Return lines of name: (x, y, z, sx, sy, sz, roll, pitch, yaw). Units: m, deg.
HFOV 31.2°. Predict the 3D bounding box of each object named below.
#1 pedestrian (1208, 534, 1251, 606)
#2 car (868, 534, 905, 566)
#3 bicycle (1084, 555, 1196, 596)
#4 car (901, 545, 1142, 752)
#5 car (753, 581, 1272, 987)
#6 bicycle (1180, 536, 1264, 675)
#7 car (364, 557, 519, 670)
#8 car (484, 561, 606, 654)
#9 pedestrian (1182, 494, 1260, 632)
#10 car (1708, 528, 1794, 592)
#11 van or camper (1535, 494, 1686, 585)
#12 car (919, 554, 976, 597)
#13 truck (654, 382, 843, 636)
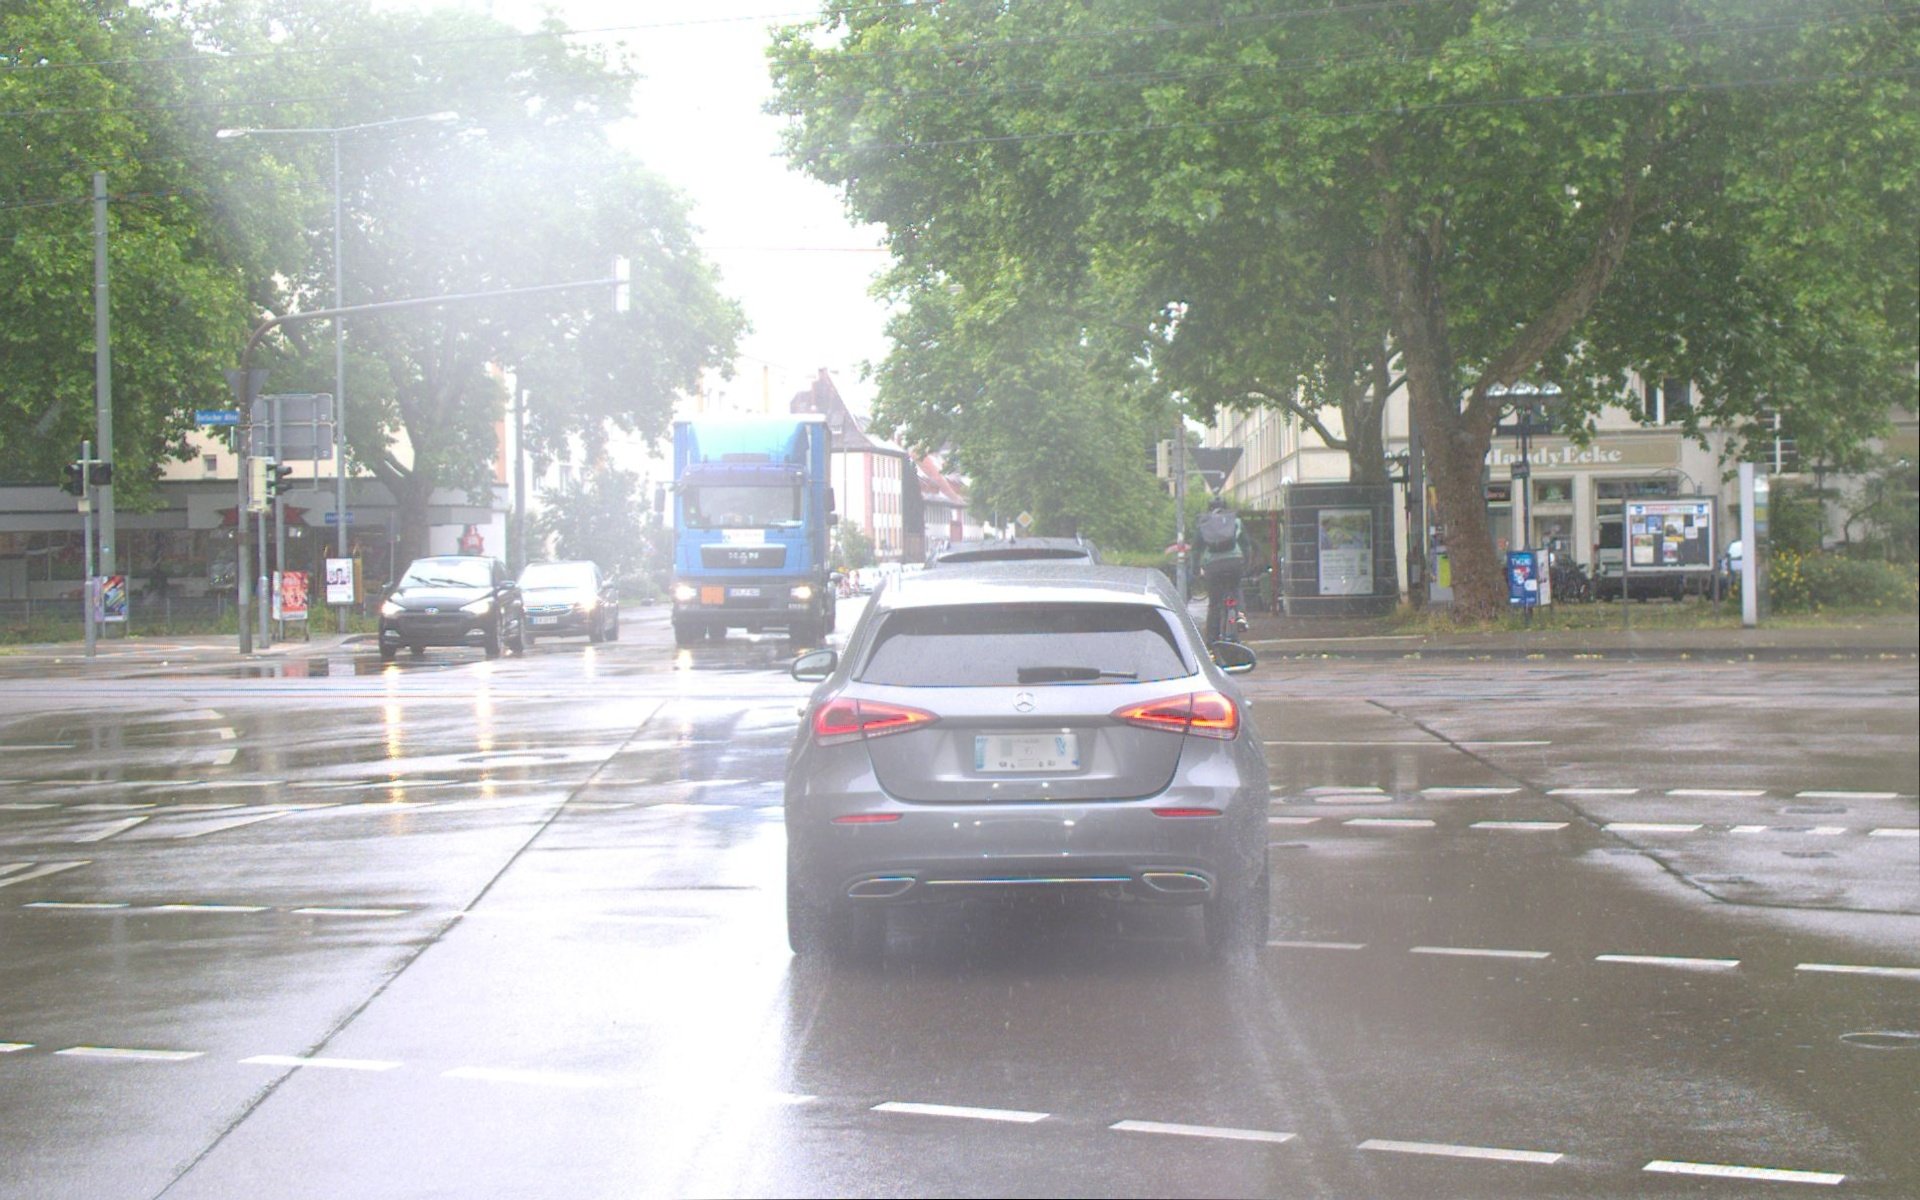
pedestrian: (6.307, -0.702, 80.572, 0.663, 1.663, 0.718, -1, 0, -40)
car: (-4.409, -3.013, 206.834, 1.890, 1.830, 4.000, -1, 0, 3)
bicycle: (5.503, -0.747, 104.853, 3.205, 1.108, 1.054, -2, -3, -19)
car: (0.387, 0.307, 25.604, 1.607, 1.368, 4.000, -2, 1, -1)
car: (0.149, 0.626, 13.622, 1.791, 1.368, 3.507, 0, 1, -1)
bicycle: (2.747, 0.029, 35.844, 0.749, 1.372, 2.707, -2, 1, 6)
car: (-7.547, 0.162, 50.313, 1.743, 1.541, 3.779, -2, 1, -1)
car: (-7.391, 0.111, 61.560, 1.726, 1.541, 4.340, -2, 1, -1)
pedestrian: (2.732, -0.392, 35.915, 0.744, 1.393, 1.047, -2, 1, 6)
car: (20.031, -0.996, 86.948, 1.681, 1.570, 3.732, -1, 0, 20)
van or camper: (16.889, -1.561, 89.041, 2.400, 2.224, 5.422, -1, 0, 27)
car: (-0.486, -0.944, 131.215, 1.993, 1.568, 4.000, -1, 0, -2)
truck: (-3.593, -1.534, 60.738, 2.845, 4.011, 10.317, -2, 1, -2)
